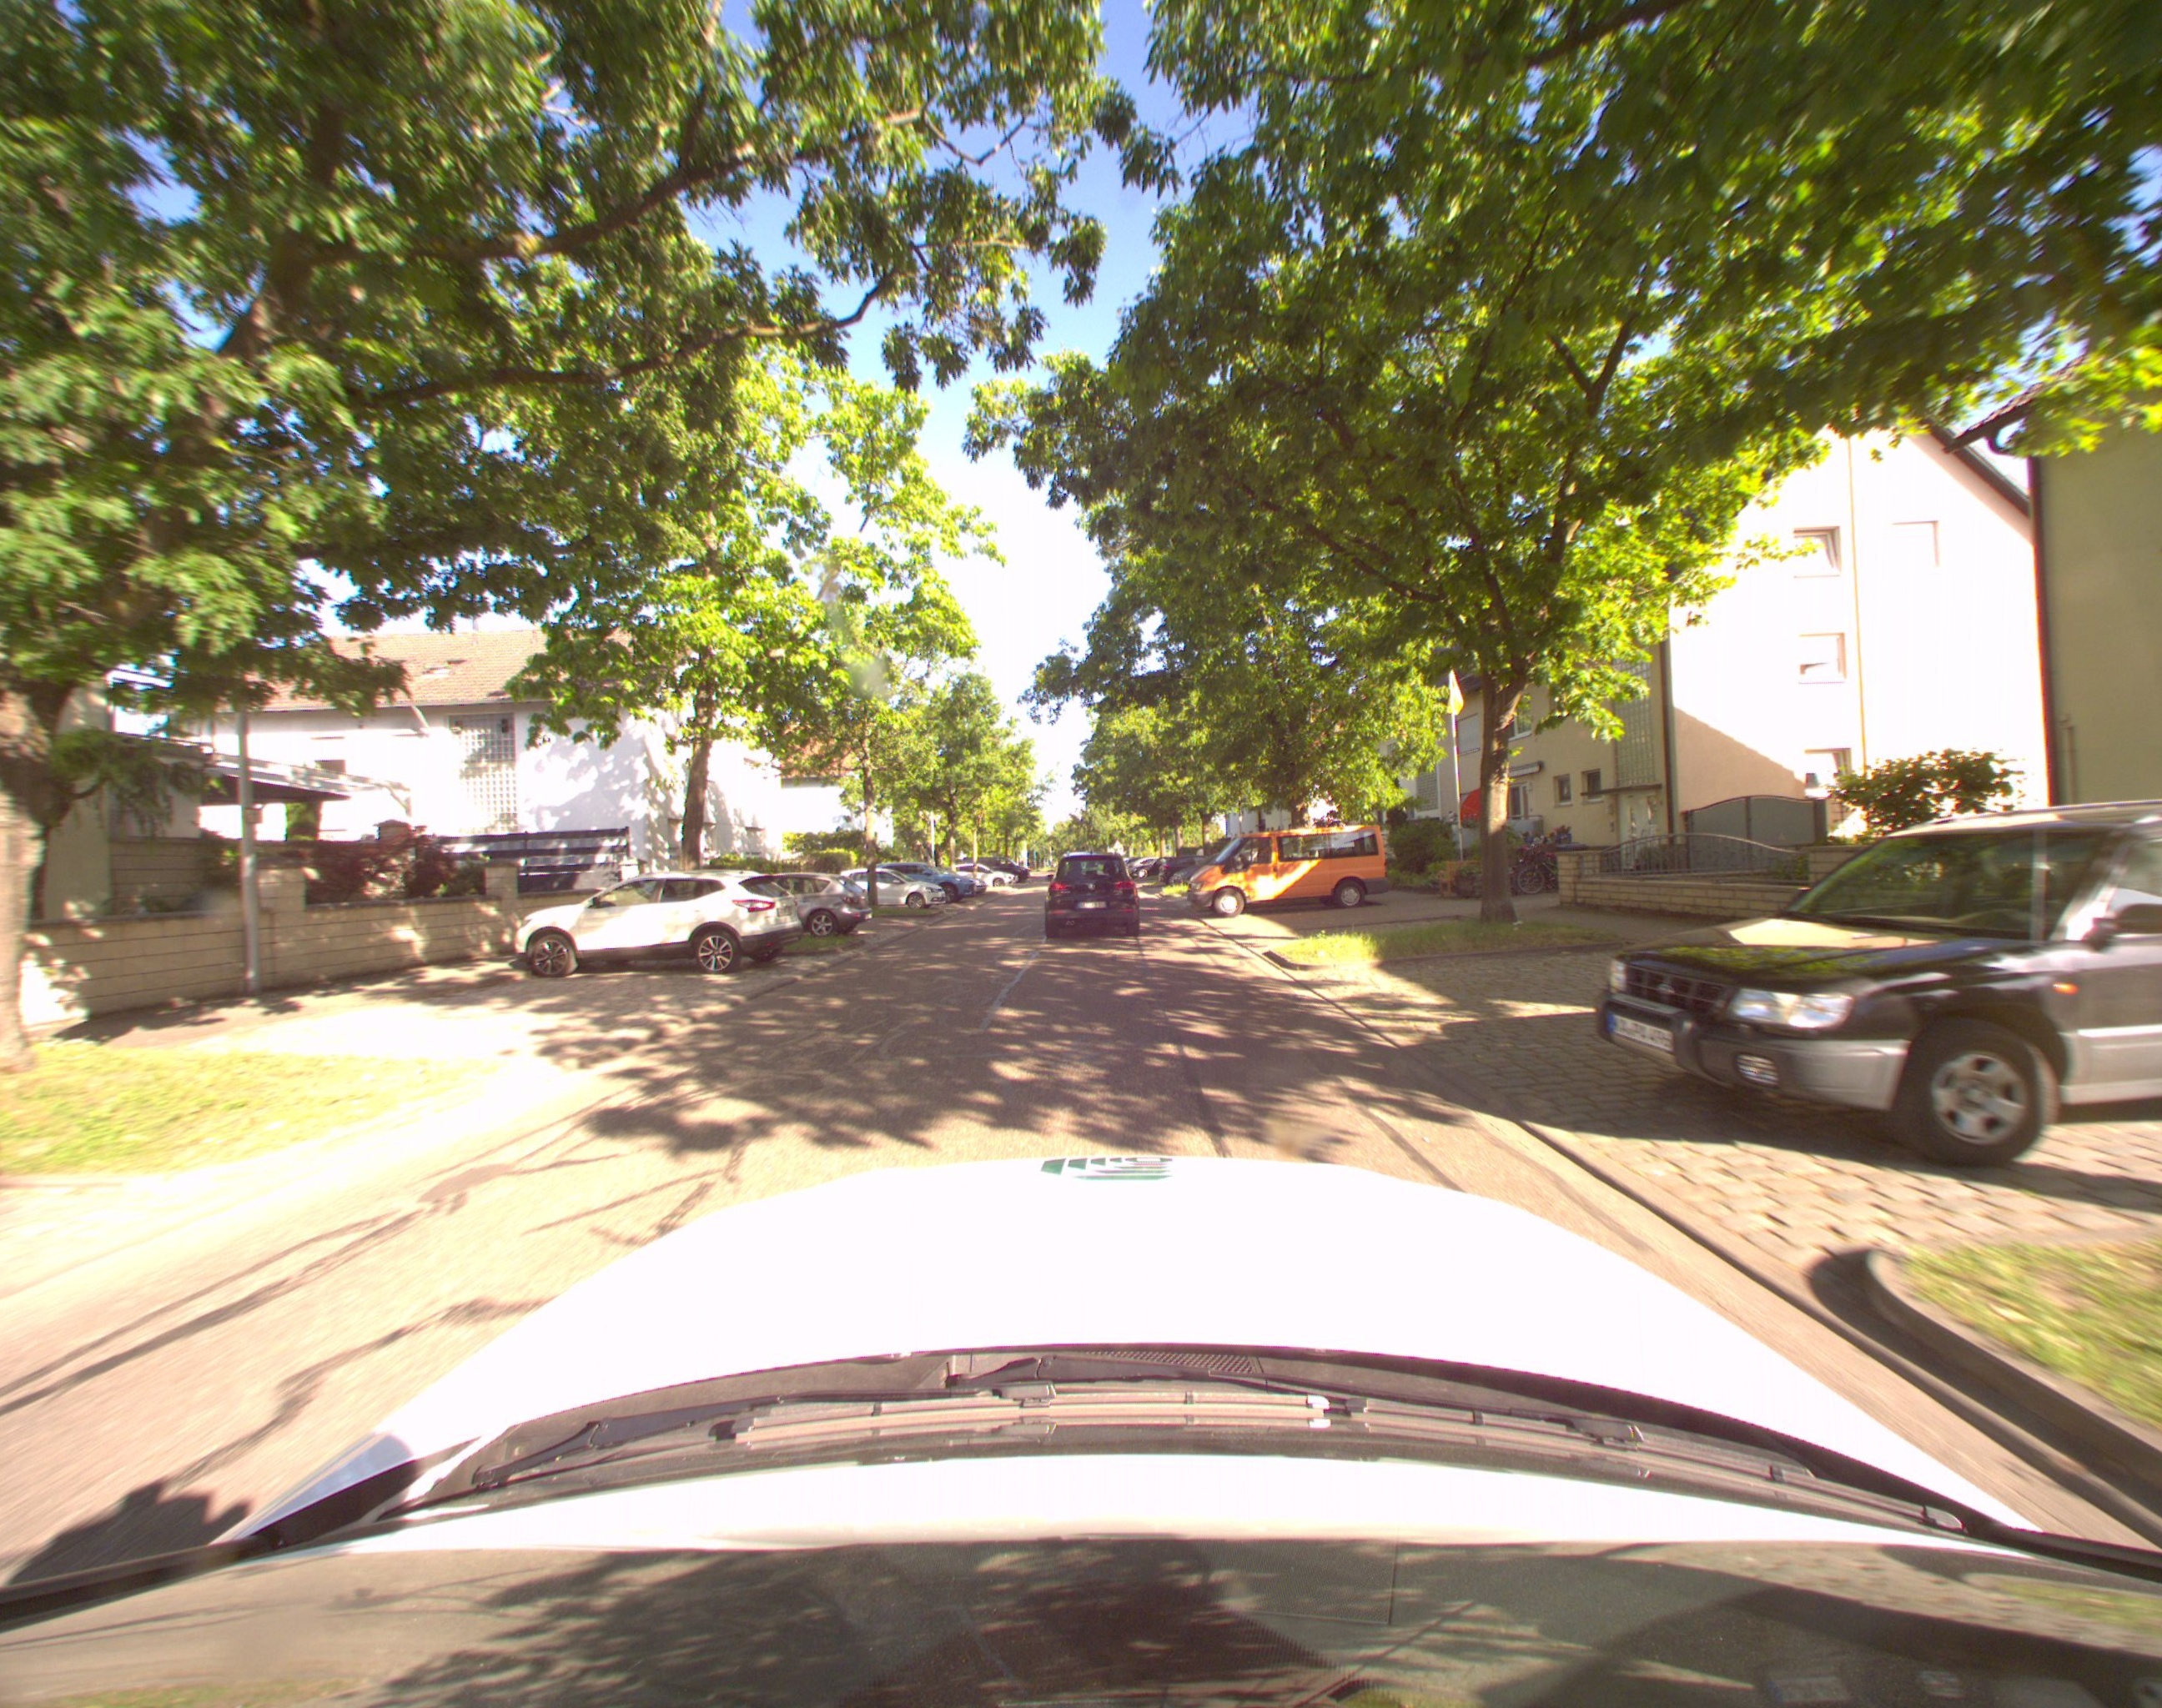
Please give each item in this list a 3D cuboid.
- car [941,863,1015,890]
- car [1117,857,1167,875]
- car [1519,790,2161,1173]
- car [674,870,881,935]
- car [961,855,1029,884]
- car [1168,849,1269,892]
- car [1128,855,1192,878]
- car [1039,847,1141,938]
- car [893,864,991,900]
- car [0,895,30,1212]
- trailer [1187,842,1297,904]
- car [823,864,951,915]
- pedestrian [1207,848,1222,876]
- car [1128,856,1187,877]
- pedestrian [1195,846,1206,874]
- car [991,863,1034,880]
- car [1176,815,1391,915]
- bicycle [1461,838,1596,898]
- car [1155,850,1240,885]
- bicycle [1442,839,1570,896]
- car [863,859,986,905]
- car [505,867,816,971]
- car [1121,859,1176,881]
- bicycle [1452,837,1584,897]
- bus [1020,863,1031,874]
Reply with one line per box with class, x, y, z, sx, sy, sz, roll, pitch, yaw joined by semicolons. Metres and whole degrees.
car;-6.254;1.348;49.736;4.261;1.478;1.768;-2;0;0
car;5.614;1.106;74.926;4.414;1.491;1.796;-3;-1;0
car;5.111;0.493;4.494;4.323;1.560;1.867;-3;-1;0
car;-6.848;1.077;18.697;4.021;1.423;1.809;0;-1;-1
car;-6.326;1.122;60.211;4.766;1.917;2.017;-2;-1;-2
car;5.800;0.707;34.750;3.973;1.624;1.757;-2;-2;1
car;5.622;0.916;58.436;4.332;1.363;1.873;-3;-2;-1
car;0.274;0.743;16.997;1.830;1.636;3.961;-1;-1;3
car;-6.422;1.291;37.832;4.168;1.492;1.647;-2;-2;1
car;-7.167;1.002;3.080;4.195;1.471;1.691;-2;-1;1
trailer;4.956;0.587;25.340;2.941;1.664;1.612;-4;-2;-5
car;-6.749;1.237;28.634;3.973;1.596;1.857;-2;-2;1
pedestrian;9.143;0.560;55.737;0.832;1.828;0.711;-2;-2;2
car;5.711;0.940;61.200;4.262;1.414;1.796;-3;-1;0
pedestrian;8.182;0.431;55.799;0.606;1.873;0.924;-2;-2;2
car;-6.381;1.598;75.990;3.845;1.459;1.713;-2;0;0
car;4.972;0.278;20.559;4.802;2.083;2.086;-4;-1;1
bicycle;10.551;0.329;19.242;2.848;1.237;0.468;-4;-2;1
car;5.644;0.694;39.782;3.868;1.516;1.661;-2;-2;1
bicycle;10.541;0.330;20.225;2.848;1.237;0.468;-4;-1;1
car;-6.289;1.148;33.078;4.508;1.631;1.937;-2;-2;1
car;-6.774;1.015;13.413;4.170;1.567;1.793;-1;-1;2
car;5.484;1.298;66.156;4.262;1.503;1.796;-3;-1;0
bicycle;10.570;0.309;19.730;2.848;1.237;0.468;-4;-2;1
bus;-15.964;4.302;235.775;2.923;3.004;5.728;-2;-2;-4
